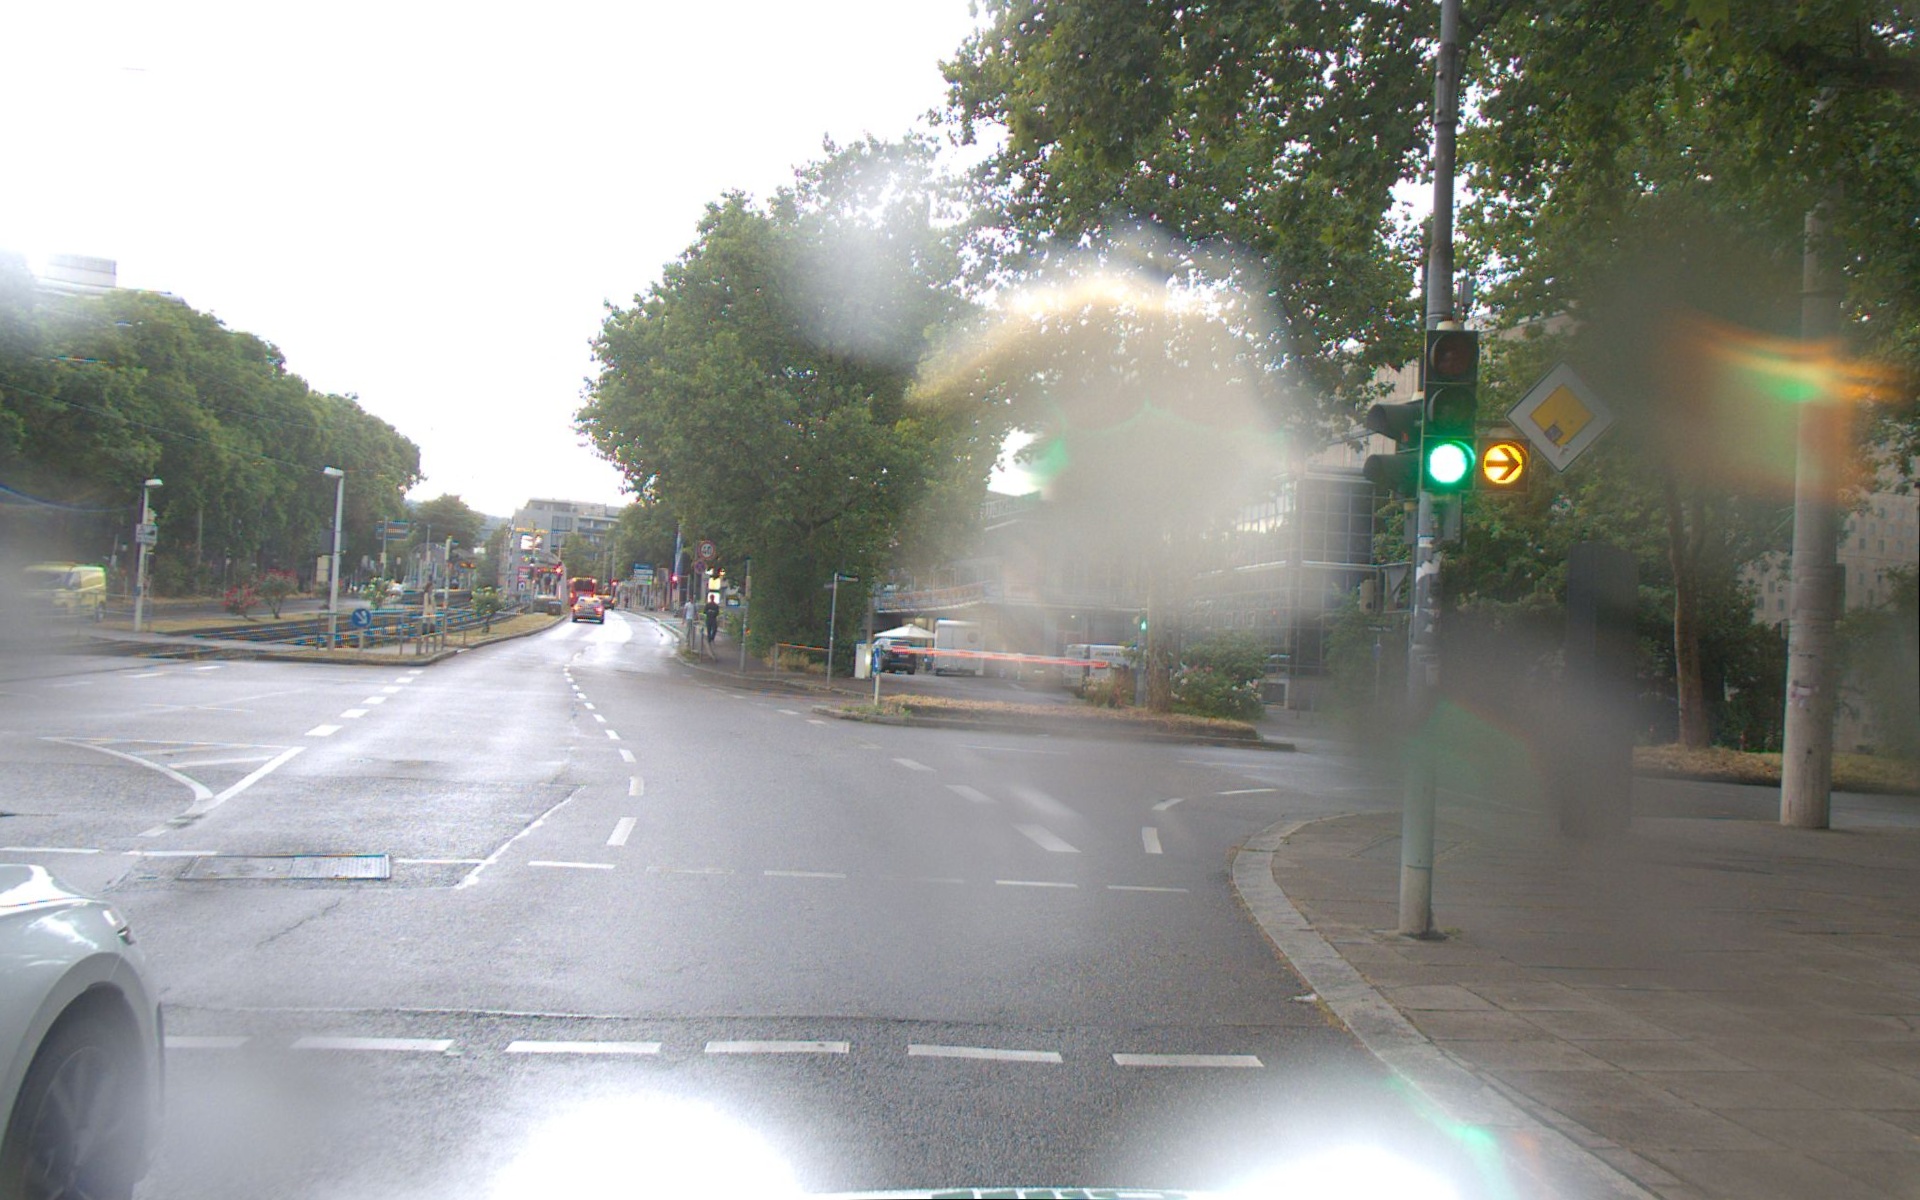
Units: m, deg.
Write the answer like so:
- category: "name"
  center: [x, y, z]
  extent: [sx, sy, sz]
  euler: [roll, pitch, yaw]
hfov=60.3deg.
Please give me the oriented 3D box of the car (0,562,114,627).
- category: "car"
  center: [-28.350, -0.142, 51.708]
  extent: [1.884, 1.883, 4.558]
  euler: [2, -1, -8]

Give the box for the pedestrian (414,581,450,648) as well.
- category: "pedestrian"
  center: [-15.042, 0.414, 47.155]
  extent: [0.855, 1.834, 0.864]
  euler: [3, -1, -17]

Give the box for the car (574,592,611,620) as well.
- category: "car"
  center: [-21.226, 0.332, 95.591]
  extent: [1.958, 1.545, 4.338]
  euler: [1, -1, -12]

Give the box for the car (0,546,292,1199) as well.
- category: "car"
  center: [-2.456, 0.619, 1.683]
  extent: [1.759, 1.468, 4.474]
  euler: [1, -1, -1]

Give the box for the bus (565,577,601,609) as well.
- category: "bus"
  center: [-39.894, -0.687, 174.959]
  extent: [3.528, 3.227, 10.384]
  euler: [1, -1, -13]

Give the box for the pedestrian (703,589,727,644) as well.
- category: "pedestrian"
  center: [-9.222, 0.629, 62.250]
  extent: [0.858, 2.049, 1.075]
  euler: [1, -1, -8]

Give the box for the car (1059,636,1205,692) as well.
- category: "car"
  center: [6.385, 2.383, 61.389]
  extent: [5.135, 1.761, 1.859]
  euler: [4, -1, -26]

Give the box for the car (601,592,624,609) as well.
- category: "car"
  center: [-37.865, 0.085, 179.957]
  extent: [2.322, 1.849, 5.165]
  euler: [1, -1, -13]

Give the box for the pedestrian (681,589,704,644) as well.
- category: "pedestrian"
  center: [-10.031, 0.615, 61.987]
  extent: [0.799, 2.049, 1.075]
  euler: [1, -1, -8]

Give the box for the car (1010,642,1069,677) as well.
- category: "car"
  center: [4.221, 3.155, 88.327]
  extent: [1.985, 1.578, 4.336]
  euler: [3, -1, -13]

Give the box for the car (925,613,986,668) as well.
- category: "car"
  center: [-0.292, 2.149, 90.490]
  extent: [2.678, 2.742, 6.915]
  euler: [3, -1, -5]

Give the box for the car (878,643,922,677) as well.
- category: "car"
  center: [-3.110, 3.137, 86.972]
  extent: [1.978, 1.578, 4.350]
  euler: [3, -1, 1]
